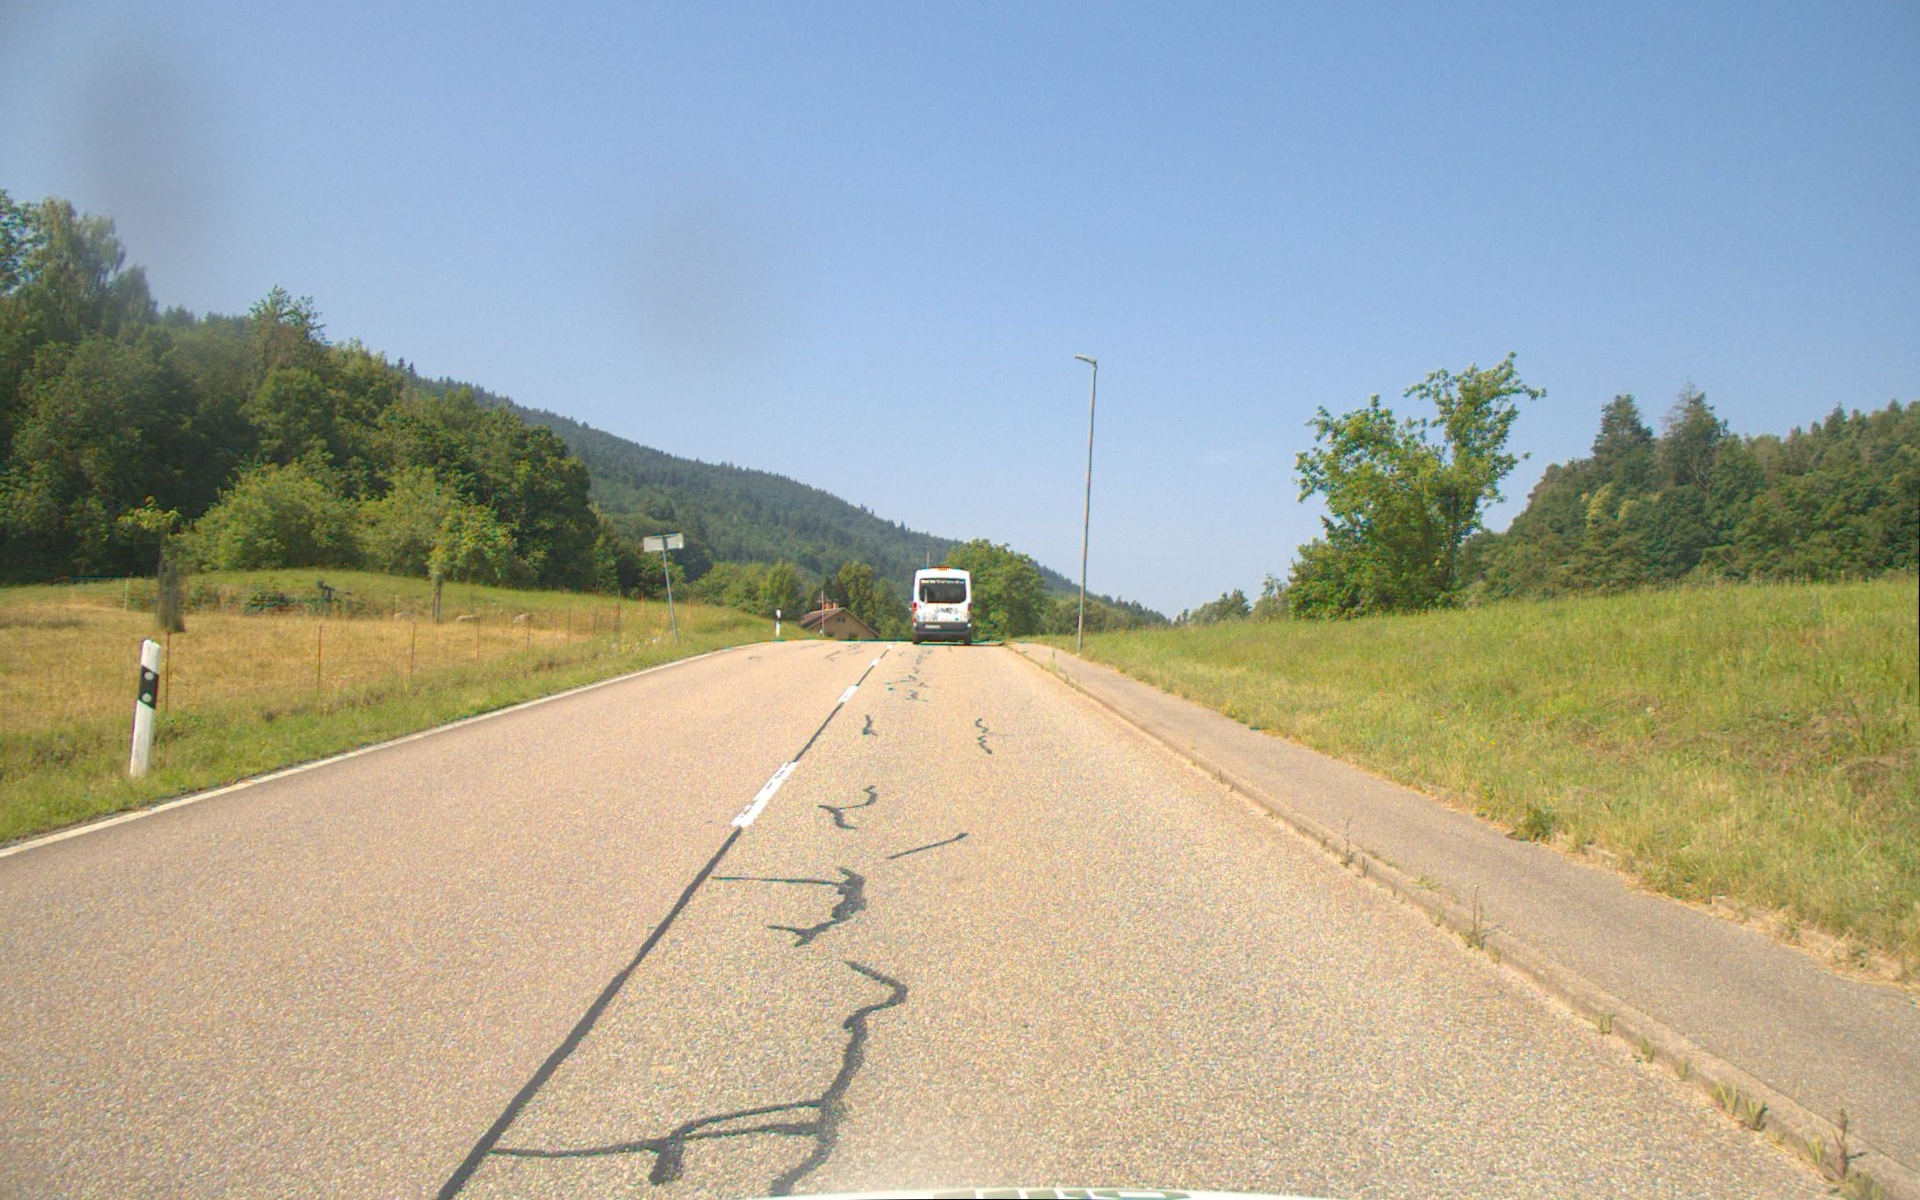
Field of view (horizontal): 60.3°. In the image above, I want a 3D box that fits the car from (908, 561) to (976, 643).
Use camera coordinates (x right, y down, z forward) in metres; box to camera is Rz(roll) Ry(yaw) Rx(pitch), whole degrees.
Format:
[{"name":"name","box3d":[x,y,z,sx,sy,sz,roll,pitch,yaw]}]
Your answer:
[{"name":"car","box3d":[-0.645,0.129,56.338,2.177,2.570,4.982,-1,-2,-1]}]
